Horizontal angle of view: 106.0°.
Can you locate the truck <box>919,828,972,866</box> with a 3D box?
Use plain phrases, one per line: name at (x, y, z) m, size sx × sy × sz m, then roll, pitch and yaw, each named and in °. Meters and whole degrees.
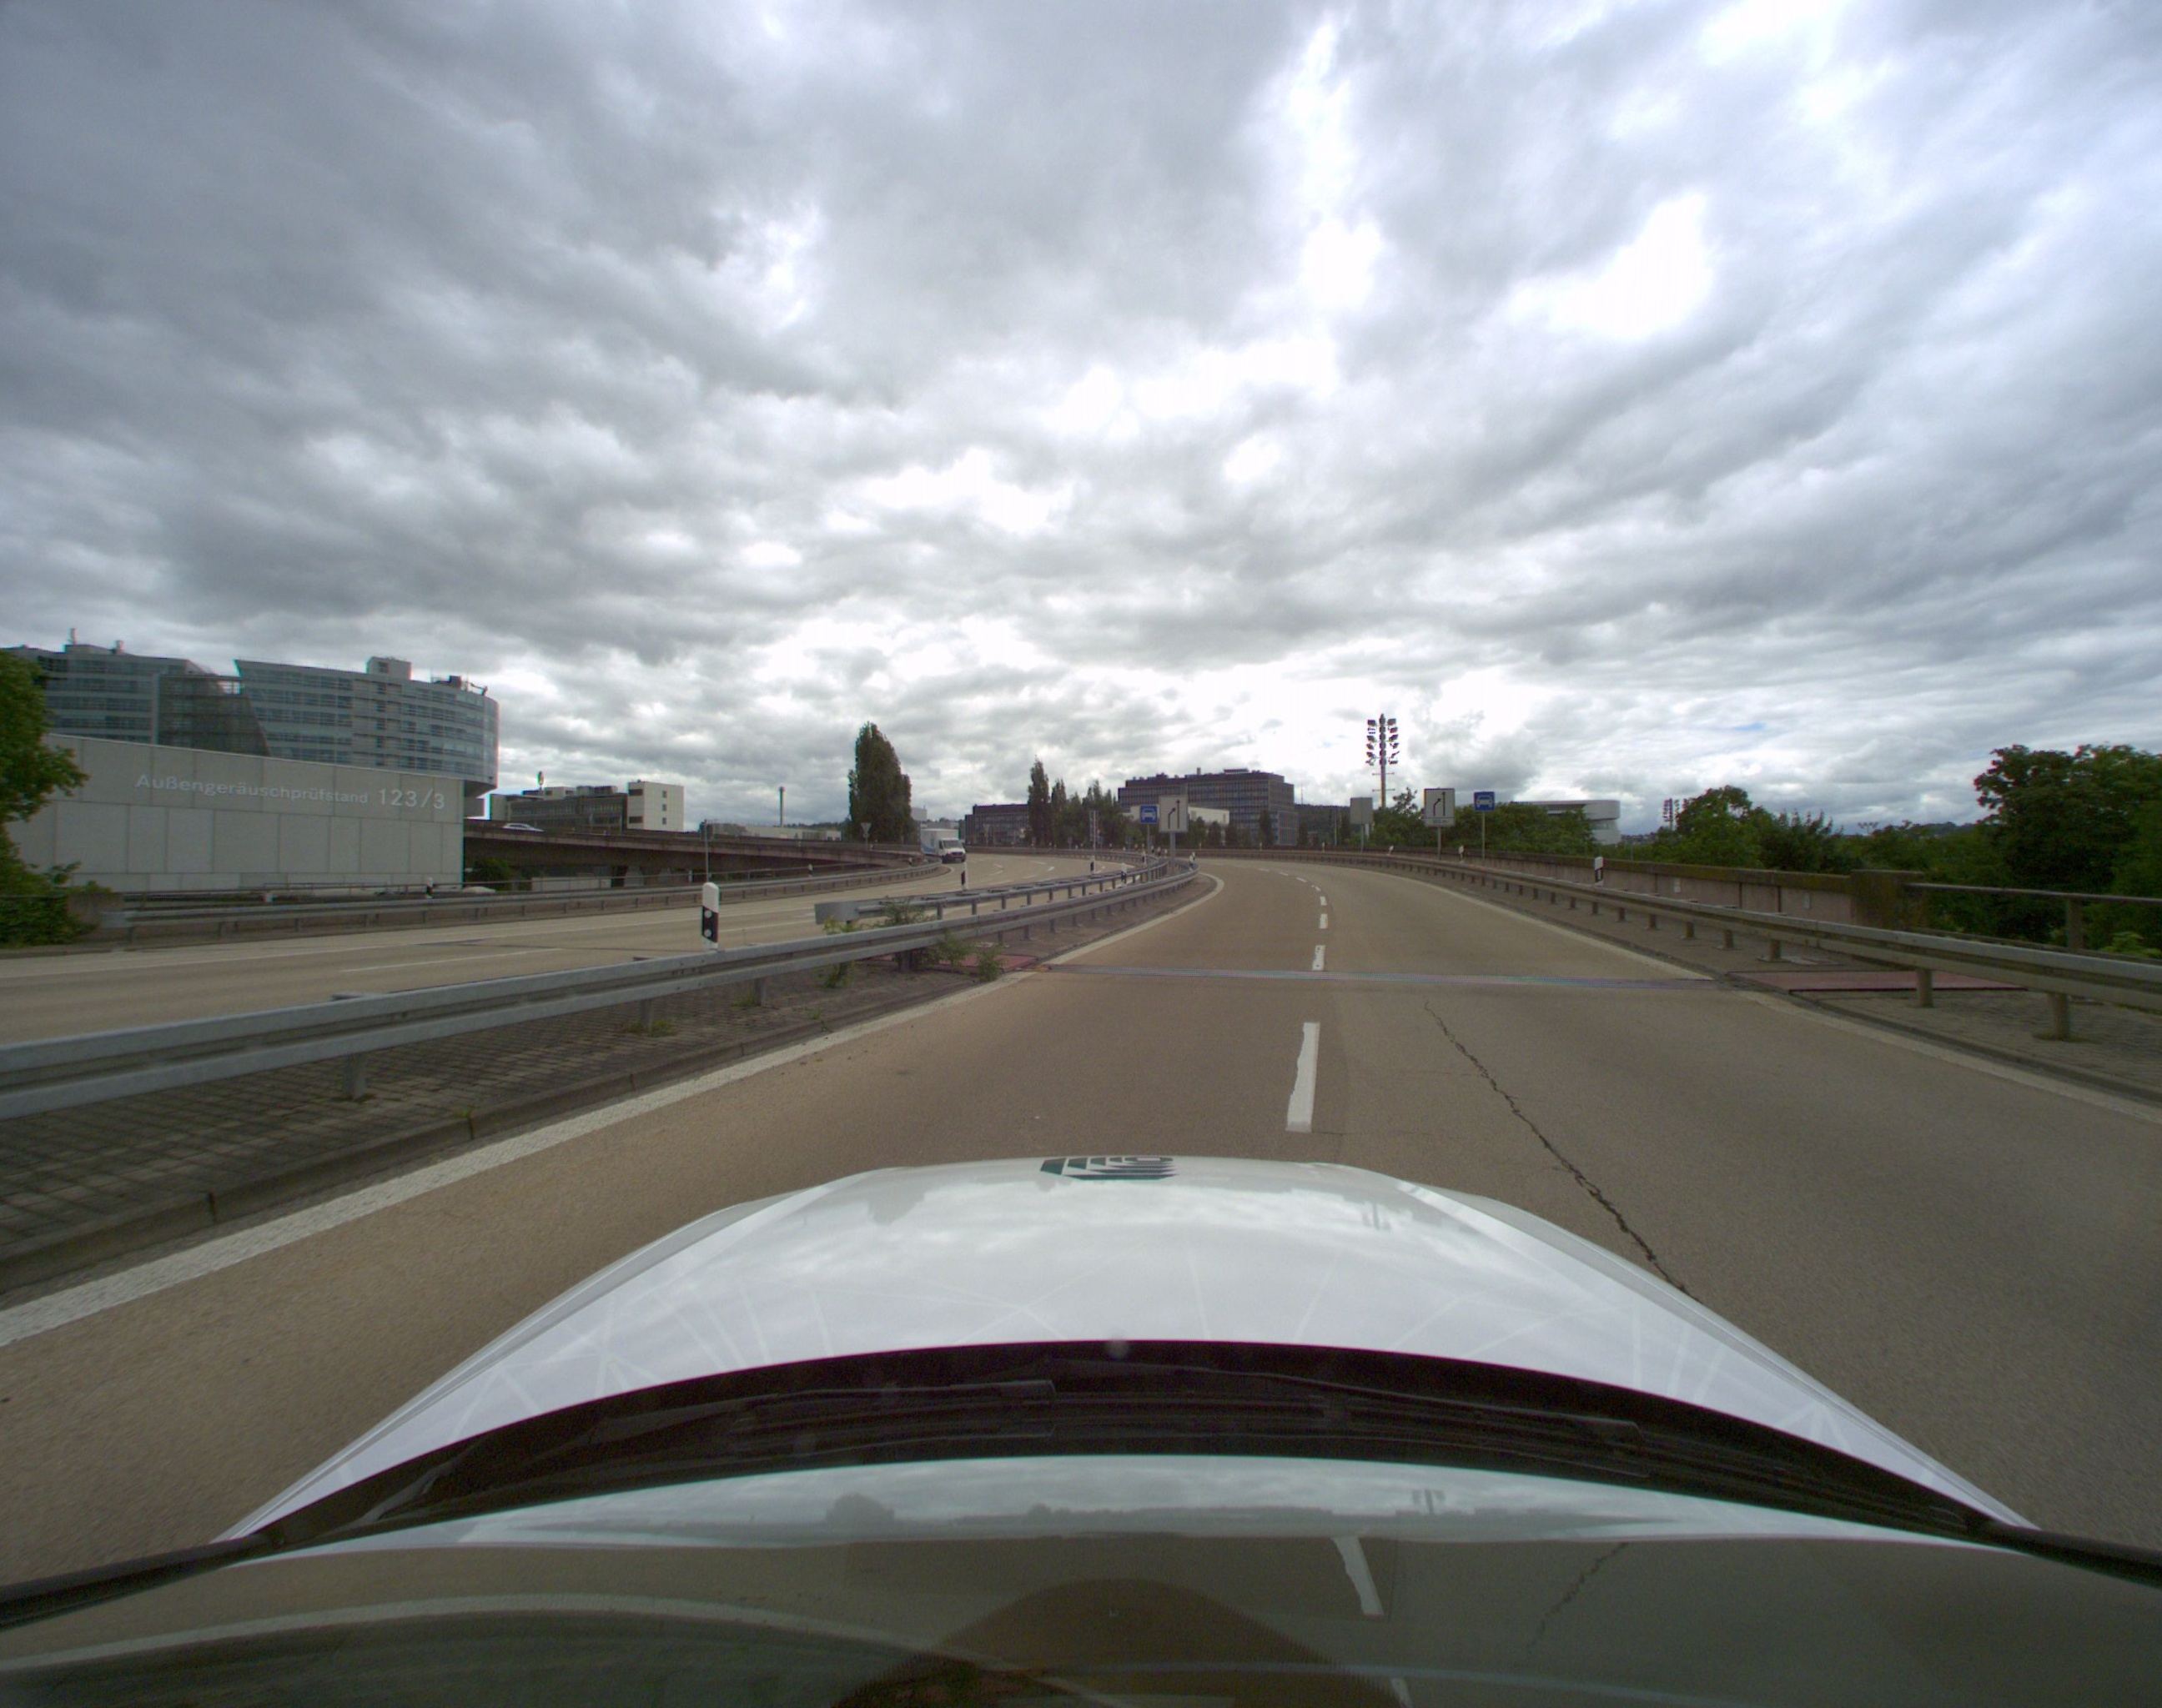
truck at (-12.415, -0.620, 74.321) m, size 2.360 × 3.263 × 6.927 m, roll 1°, pitch 0°, yaw -31°
